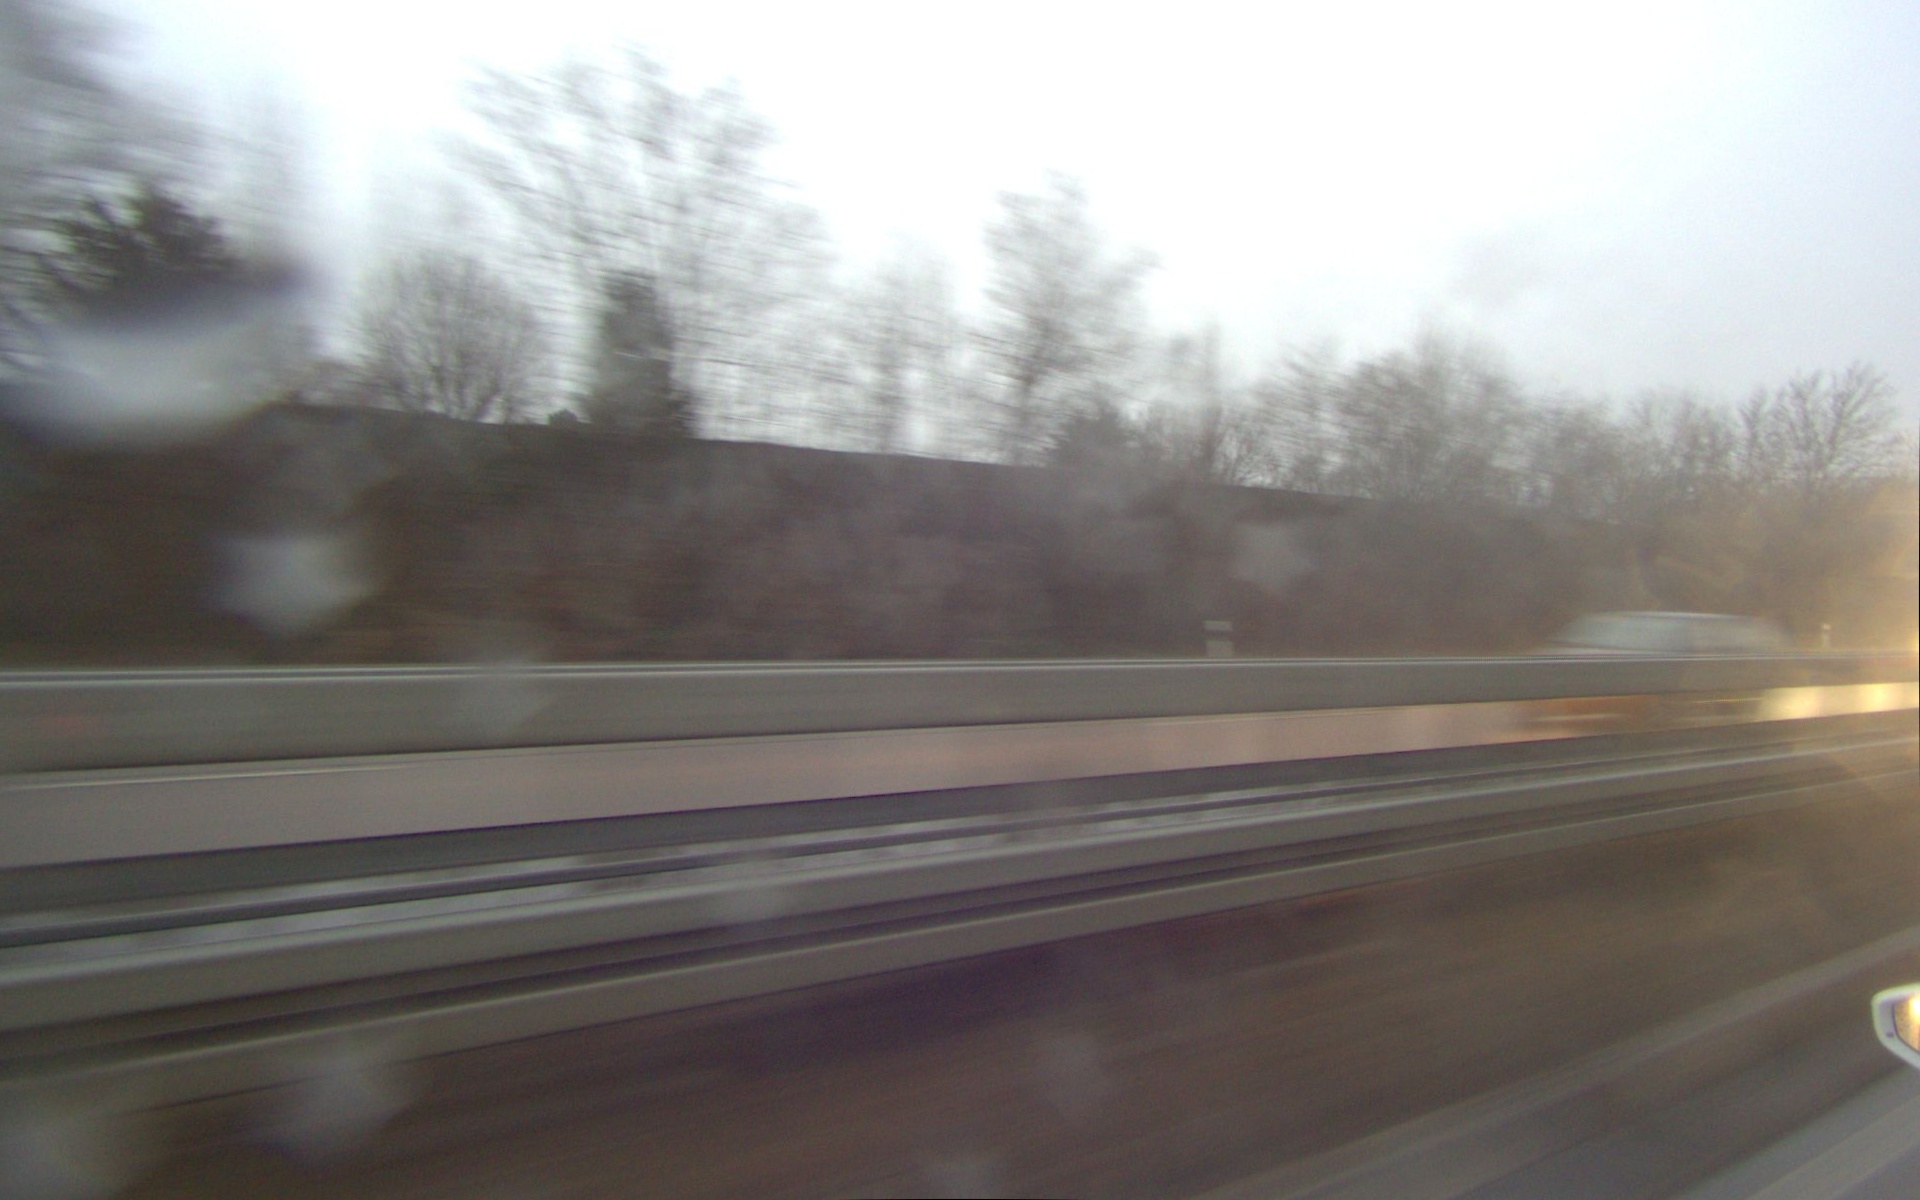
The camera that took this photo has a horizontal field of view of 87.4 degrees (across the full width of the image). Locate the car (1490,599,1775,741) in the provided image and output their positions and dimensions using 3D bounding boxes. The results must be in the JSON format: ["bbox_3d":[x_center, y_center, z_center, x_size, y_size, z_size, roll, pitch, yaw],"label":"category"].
[{"bbox_3d":[8.600,0.826,12.817,3.464,1.539,1.645,2,1,-30],"label":"car"}]
